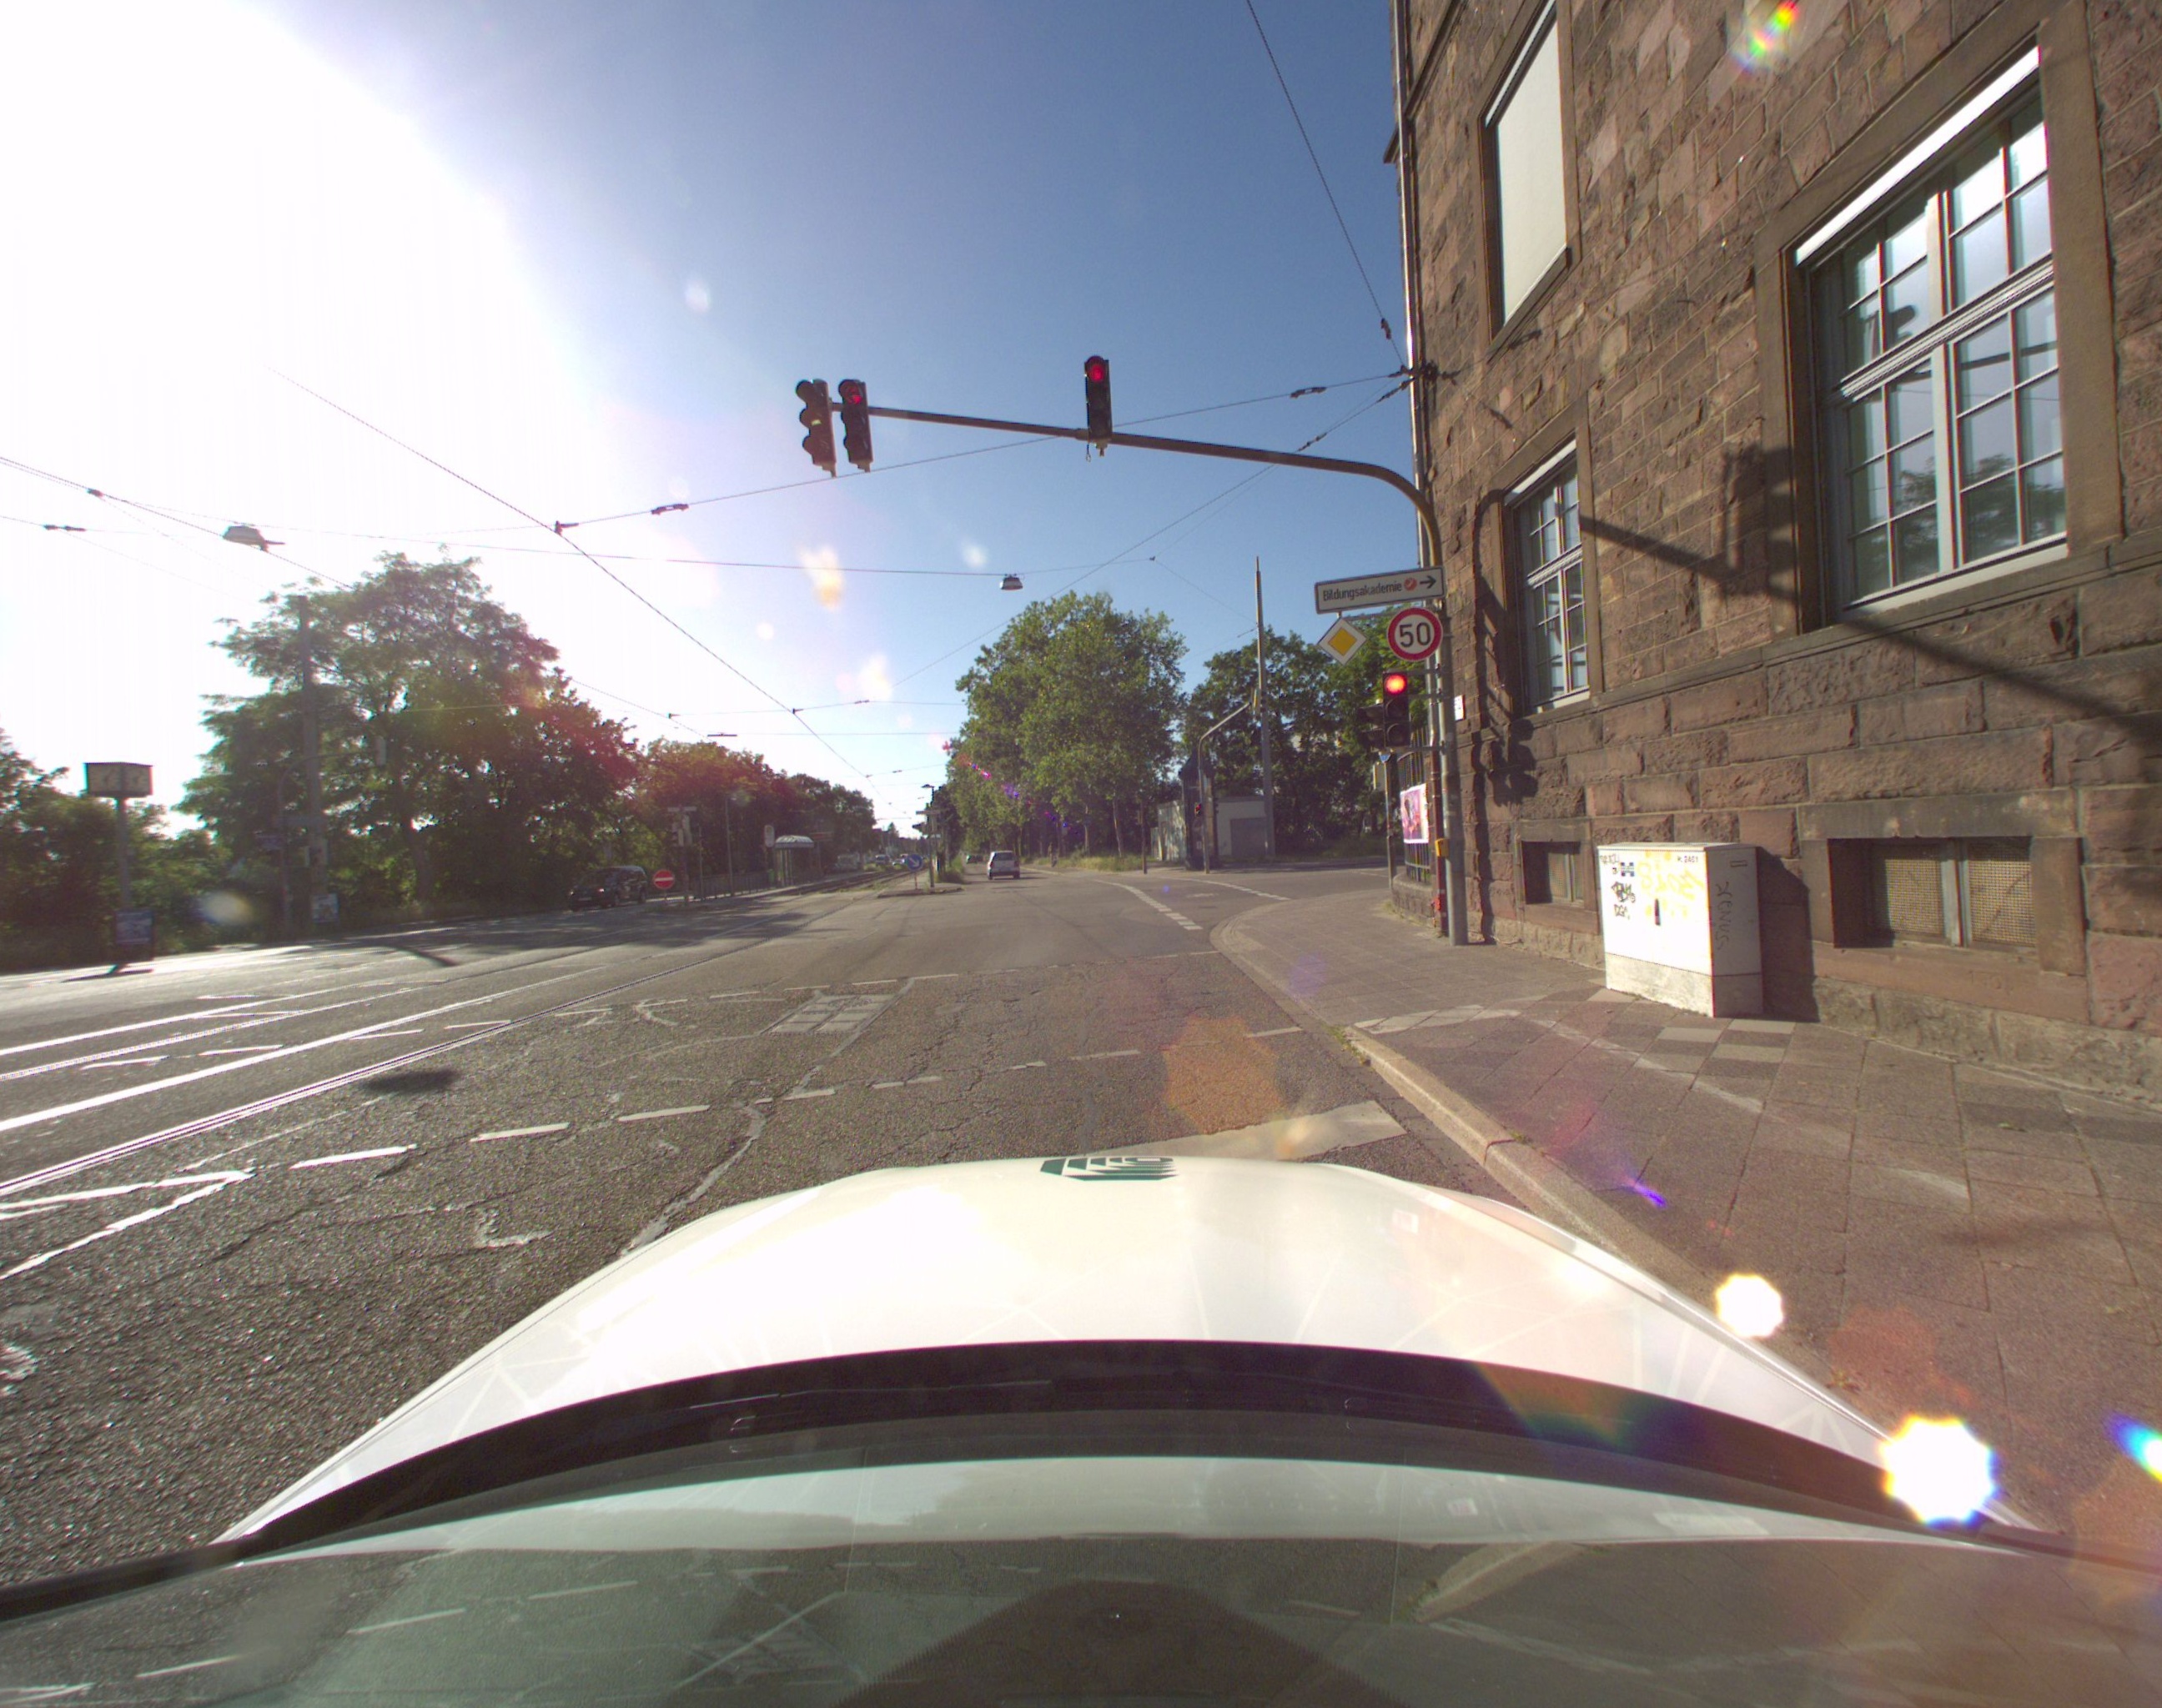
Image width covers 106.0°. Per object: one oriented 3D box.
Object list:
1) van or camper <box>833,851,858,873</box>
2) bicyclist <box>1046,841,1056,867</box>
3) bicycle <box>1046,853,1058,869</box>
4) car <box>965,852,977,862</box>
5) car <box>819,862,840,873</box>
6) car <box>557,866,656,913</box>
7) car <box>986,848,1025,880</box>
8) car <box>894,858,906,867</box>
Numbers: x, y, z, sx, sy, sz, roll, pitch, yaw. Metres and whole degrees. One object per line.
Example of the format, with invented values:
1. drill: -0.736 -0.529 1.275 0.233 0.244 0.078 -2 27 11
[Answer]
1. van or camper: -35.852 1.259 124.203 2.589 3.106 6.768 -4 0 -9
2. bicyclist: -2.131 -0.005 58.245 0.534 1.769 0.710 -4 0 -11
3. bicycle: -2.078 0.479 58.129 0.536 1.066 1.428 -4 0 -10
4. car: -18.580 0.466 137.292 1.750 1.604 3.569 -4 1 -9
5. car: -34.413 1.881 111.639 1.919 1.266 3.990 -4 0 -7
6. car: -20.603 1.479 35.657 1.994 1.767 5.014 -4 0 -9
7. car: -3.943 0.505 42.384 1.865 1.486 3.548 -3 0 -5
8. car: -36.920 1.689 166.315 1.919 1.567 3.990 -4 0 -7
